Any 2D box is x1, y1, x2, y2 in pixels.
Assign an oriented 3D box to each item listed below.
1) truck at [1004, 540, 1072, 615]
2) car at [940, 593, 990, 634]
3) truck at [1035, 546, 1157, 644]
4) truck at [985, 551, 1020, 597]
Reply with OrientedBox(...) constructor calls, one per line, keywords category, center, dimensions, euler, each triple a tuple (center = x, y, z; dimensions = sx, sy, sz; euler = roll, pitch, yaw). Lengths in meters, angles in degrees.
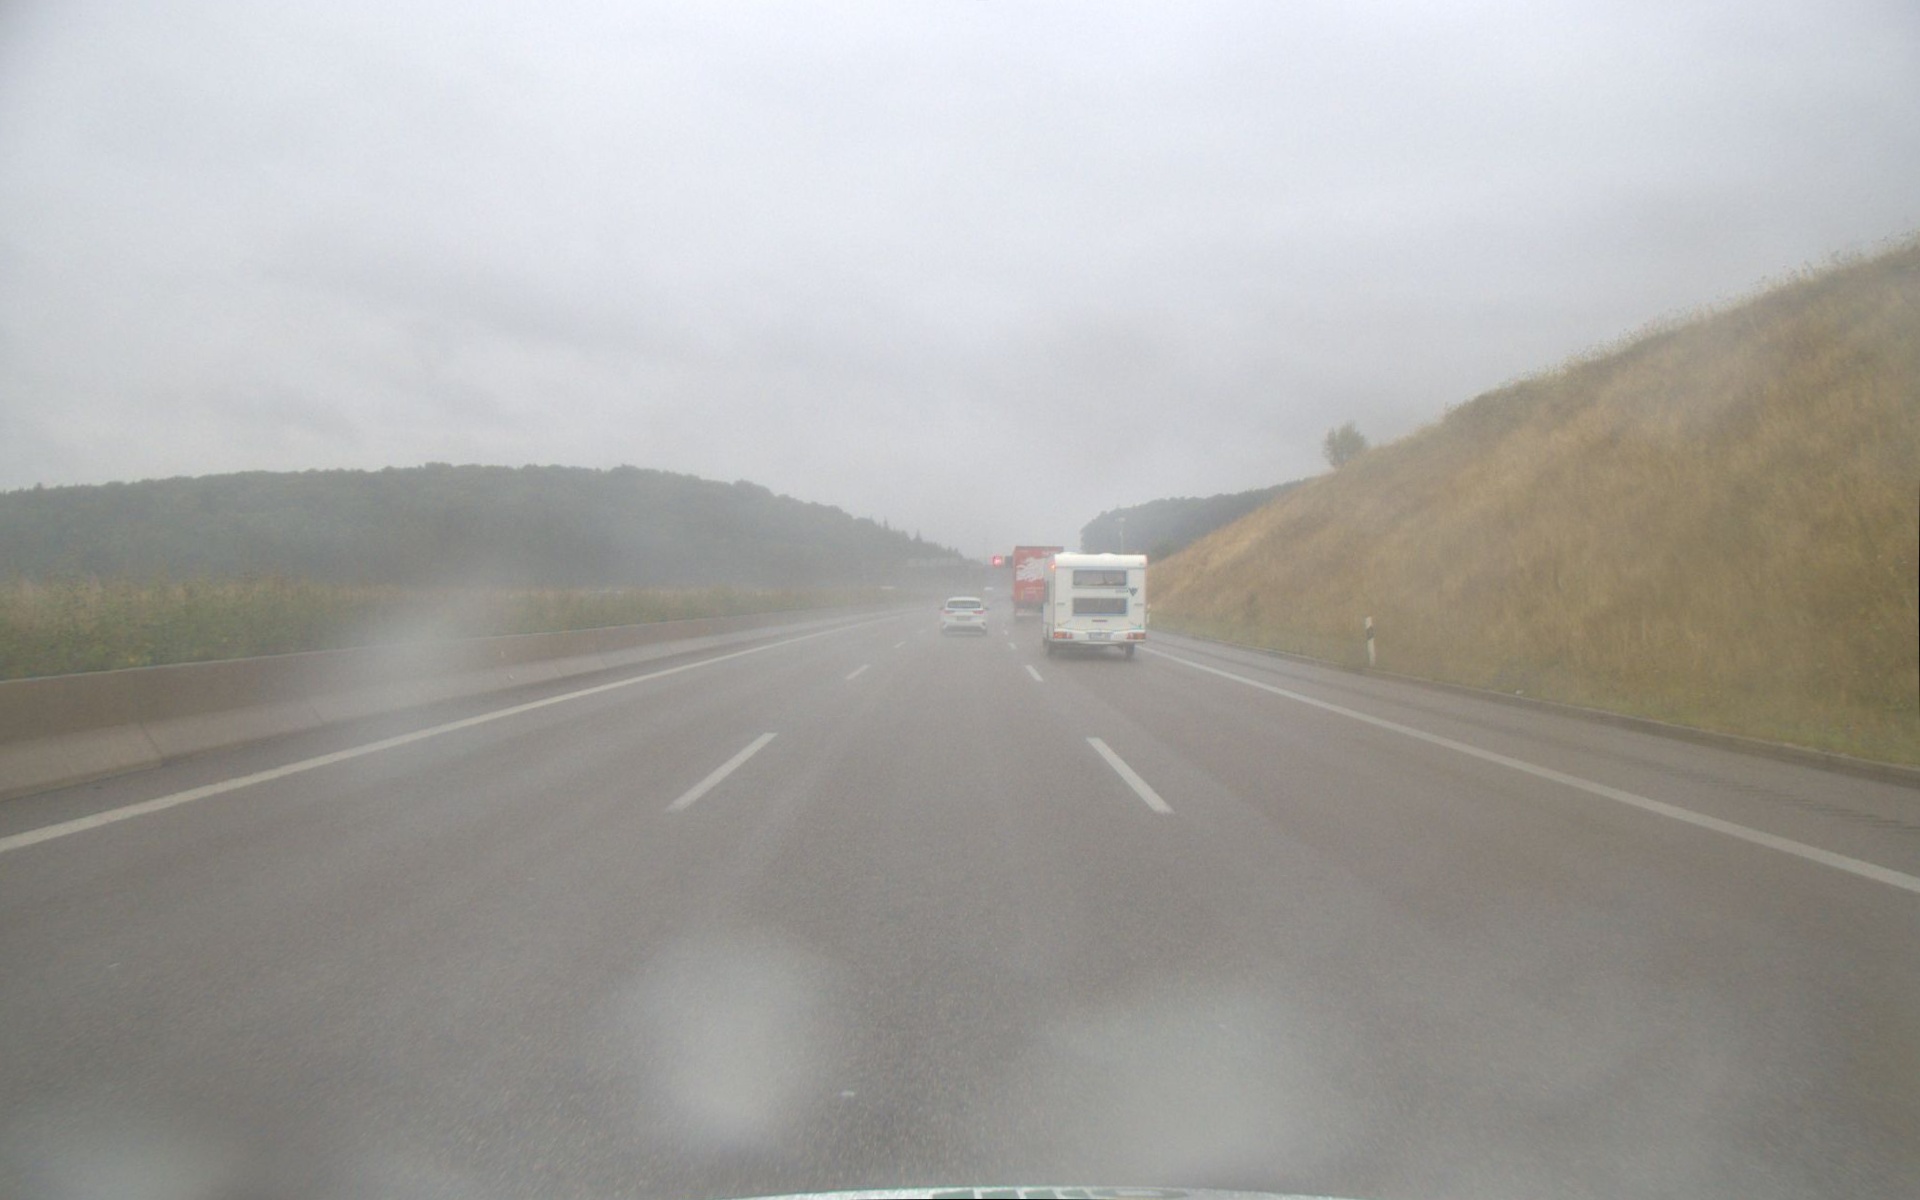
OrientedBox(category="truck", center=(4.387, -1.218, 90.670), dimensions=(3.453, 3.808, 11.432), euler=(1, 1, 4))
OrientedBox(category="car", center=(0.166, 0.509, 62.598), dimensions=(1.829, 1.488, 3.999), euler=(0, -1, -1))
OrientedBox(category="truck", center=(3.305, -0.122, 41.223), dimensions=(2.360, 2.292, 4.689), euler=(0, 0, -4))
OrientedBox(category="truck", center=(6.783, -3.941, 261.497), dimensions=(5.301, 6.958, 19.460), euler=(0, 0, 2))
